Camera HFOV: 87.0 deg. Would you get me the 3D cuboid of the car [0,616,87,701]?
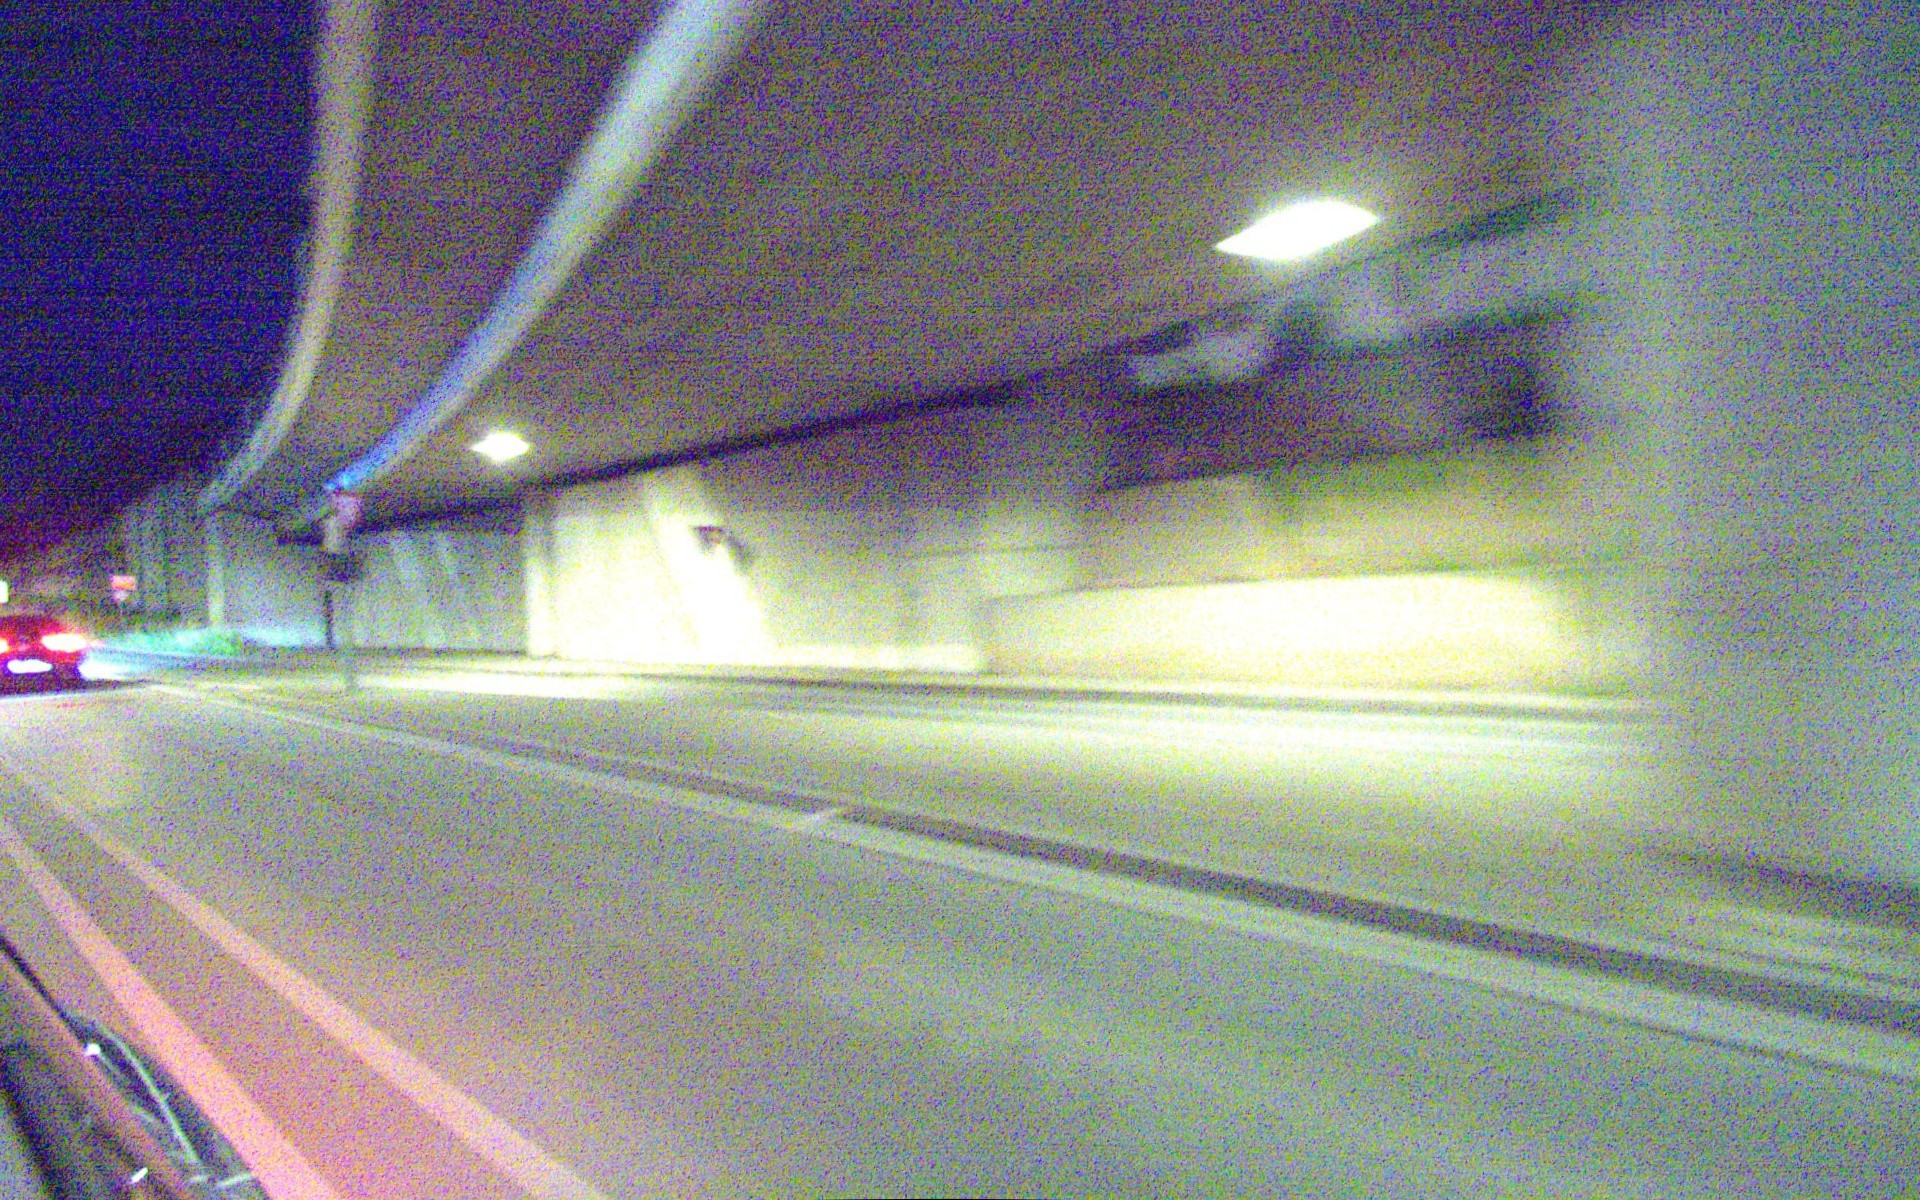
[{"bbox_3d":[-19.726,1.156,20.916,4.213,1.566,1.863,0,0,39],"label":"car"}]
